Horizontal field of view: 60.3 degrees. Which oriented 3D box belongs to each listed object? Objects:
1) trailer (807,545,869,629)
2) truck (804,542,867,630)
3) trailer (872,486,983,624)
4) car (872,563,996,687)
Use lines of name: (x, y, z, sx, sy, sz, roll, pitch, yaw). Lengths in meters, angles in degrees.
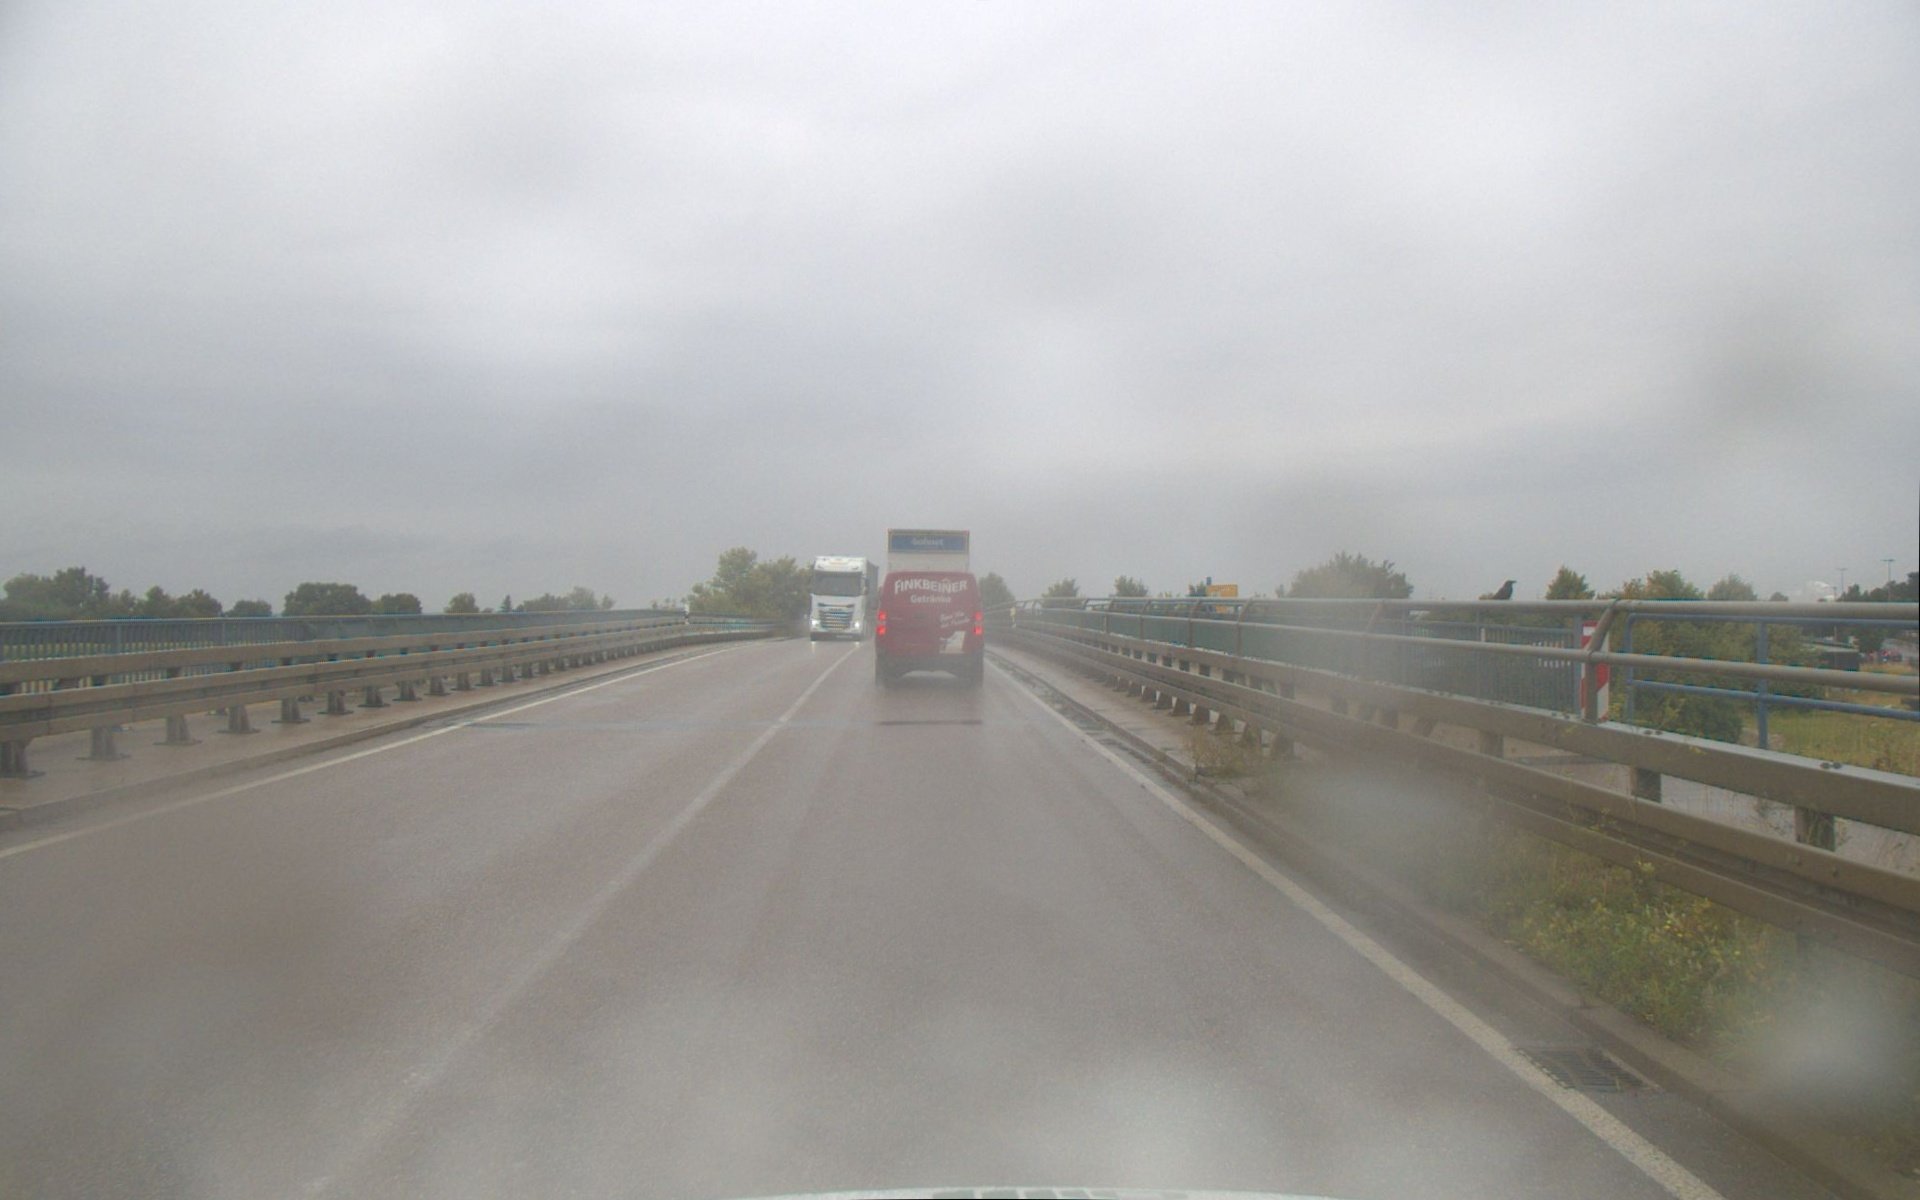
trailer: (-6.278, -0.598, 86.819, 2.761, 4.040, 13.729, 0, 0, -2)
truck: (-6.025, -0.629, 80.983, 2.761, 4.040, 8.759, 0, 0, -3)
trailer: (-1.008, -1.314, 54.112, 3.136, 3.990, 8.738, 3, -1, 0)
car: (-0.510, 0.382, 28.722, 1.954, 1.959, 4.141, 1, 1, -3)
